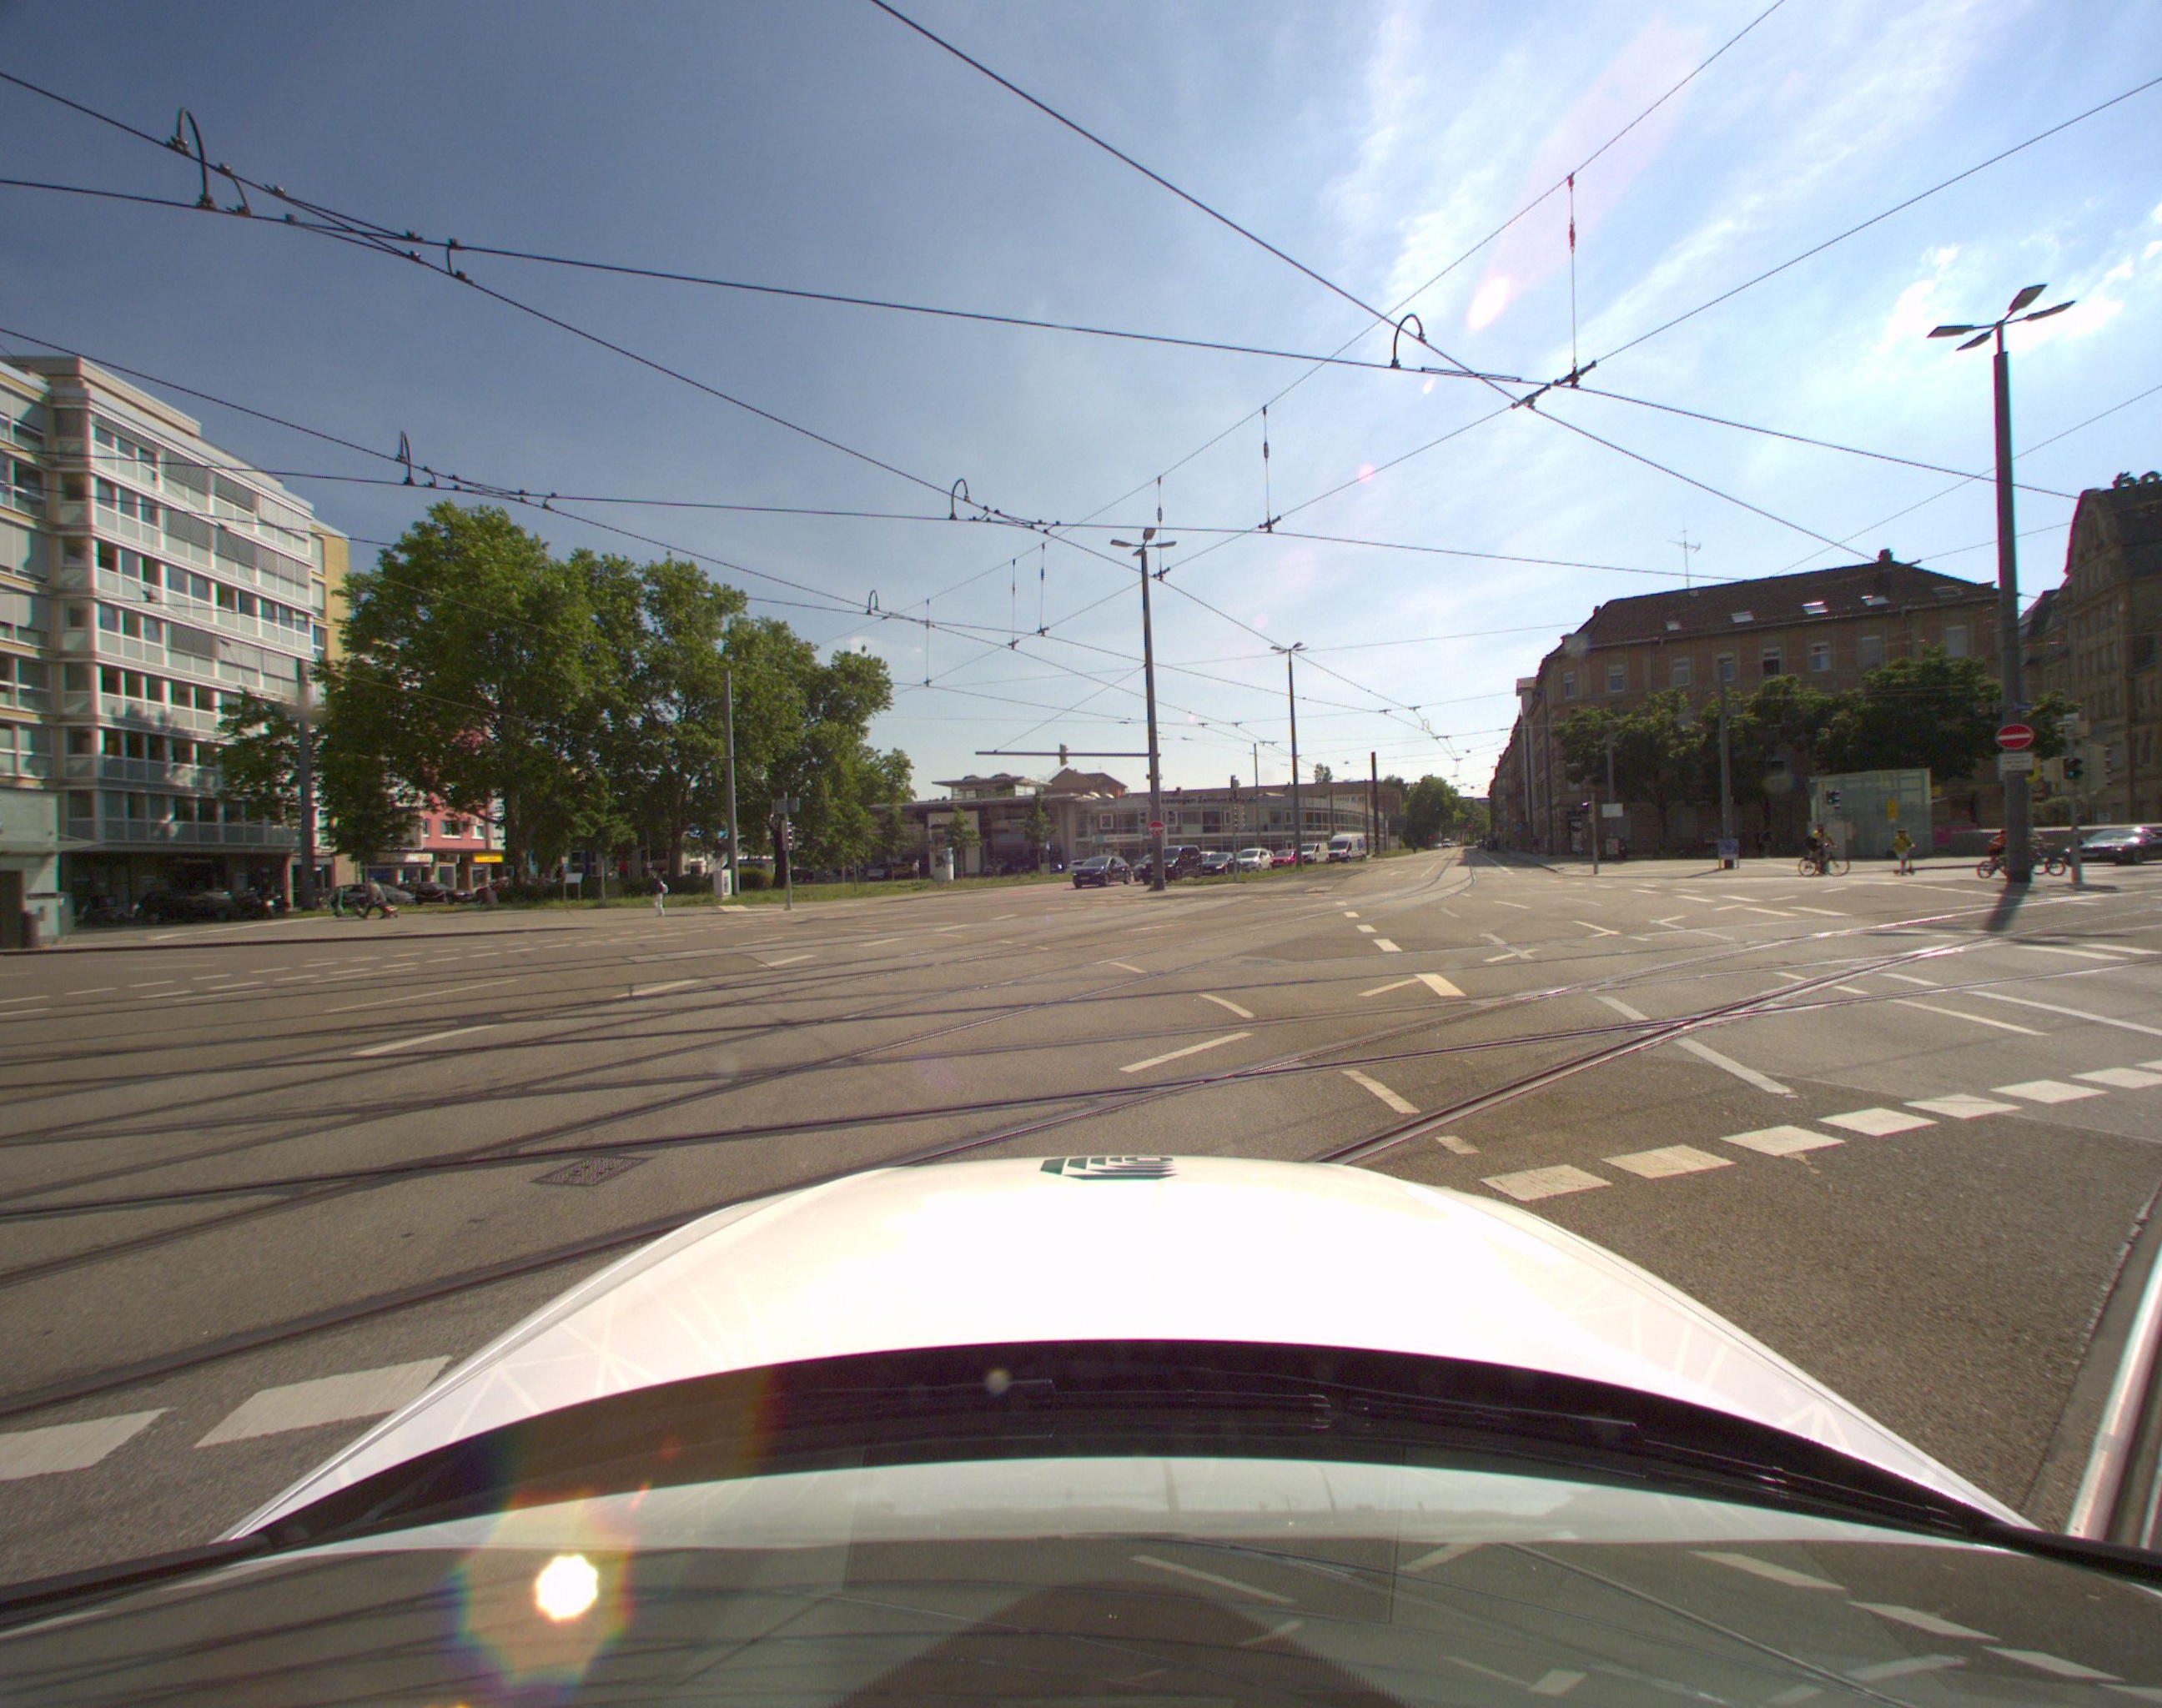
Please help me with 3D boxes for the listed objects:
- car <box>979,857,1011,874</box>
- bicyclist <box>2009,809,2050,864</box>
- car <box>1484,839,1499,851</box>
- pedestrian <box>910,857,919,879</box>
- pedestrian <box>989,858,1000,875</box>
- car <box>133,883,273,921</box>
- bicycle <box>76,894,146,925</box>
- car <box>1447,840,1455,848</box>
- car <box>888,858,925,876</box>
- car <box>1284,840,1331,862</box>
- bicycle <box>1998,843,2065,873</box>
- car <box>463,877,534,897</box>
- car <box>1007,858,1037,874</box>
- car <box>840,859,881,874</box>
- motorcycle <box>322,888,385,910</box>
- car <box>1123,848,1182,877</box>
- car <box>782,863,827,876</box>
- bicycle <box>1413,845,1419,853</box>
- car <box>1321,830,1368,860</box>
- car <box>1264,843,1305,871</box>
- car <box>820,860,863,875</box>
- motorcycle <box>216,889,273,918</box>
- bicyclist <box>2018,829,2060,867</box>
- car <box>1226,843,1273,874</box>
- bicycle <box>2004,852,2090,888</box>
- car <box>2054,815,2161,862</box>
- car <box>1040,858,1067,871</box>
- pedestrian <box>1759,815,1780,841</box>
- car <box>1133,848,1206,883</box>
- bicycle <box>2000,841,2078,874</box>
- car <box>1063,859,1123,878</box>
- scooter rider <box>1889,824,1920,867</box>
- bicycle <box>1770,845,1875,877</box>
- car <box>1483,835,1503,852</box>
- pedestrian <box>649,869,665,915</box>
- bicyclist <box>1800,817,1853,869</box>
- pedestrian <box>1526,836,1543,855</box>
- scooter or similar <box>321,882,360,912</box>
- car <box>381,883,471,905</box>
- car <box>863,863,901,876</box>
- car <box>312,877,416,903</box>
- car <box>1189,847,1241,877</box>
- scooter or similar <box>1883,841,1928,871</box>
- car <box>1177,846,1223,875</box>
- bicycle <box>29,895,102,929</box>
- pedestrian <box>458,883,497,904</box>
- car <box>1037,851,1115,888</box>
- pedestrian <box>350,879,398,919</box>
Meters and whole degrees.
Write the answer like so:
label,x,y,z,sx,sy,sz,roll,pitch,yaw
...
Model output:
label,x,y,z,sx,sy,sz,roll,pitch,yaw
car,-8.362,1.103,79.437,1.981,1.486,4.011,-2,0,9
bicyclist,28.099,-0.518,24.132,0.496,1.621,0.652,0,0,16
car,66.524,-1.439,131.911,2.089,2.014,4.023,0,-1,25
pedestrian,-12.111,1.000,59.324,0.388,1.596,0.467,0,-1,34
pedestrian,-8.036,1.182,75.843,0.948,1.580,0.535,0,-1,7
car,-38.714,2.120,35.994,4.074,1.471,1.655,-2,-3,-6
bicycle,-39.118,2.241,32.876,0.579,1.085,1.759,-2,1,4
car,98.753,-2.677,217.259,1.814,2.213,4.024,-2,0,28
car,-17.561,1.300,81.982,1.978,1.684,4.017,0,0,16
car,18.488,-0.276,66.361,2.164,1.680,5.061,-2,0,33
bicycle,28.084,0.098,24.100,0.496,0.866,1.594,0,0,16
car,-41.650,2.349,58.282,3.718,1.340,1.740,0,-1,-6
car,-5.647,1.106,78.907,1.981,1.486,4.010,0,0,9
car,-25.072,1.448,92.801,3.963,1.508,2.005,-2,0,9
motorcycle,-32.171,1.967,36.034,0.632,0.842,2.050,-2,0,44
car,4.167,0.496,46.939,1.876,1.588,4.024,-2,-2,28
car,-28.700,1.595,84.610,3.962,1.371,2.006,0,0,10
bicycle,51.254,-0.766,124.493,0.745,1.194,2.855,0,-1,25
car,23.634,-0.722,72.808,2.187,2.575,5.912,0,-1,37
car,14.981,0.257,59.774,1.876,1.917,4.225,-2,-2,28
car,-26.435,1.474,90.022,3.963,1.508,2.005,-2,0,9
motorcycle,-31.833,1.884,30.993,2.015,1.062,0.643,-2,0,18
bicyclist,26.580,-0.172,22.602,0.497,1.029,0.607,0,0,9
car,11.089,0.298,53.436,1.876,1.917,4.225,-2,-2,28
bicycle,25.378,0.401,21.424,0.515,0.886,1.579,-2,1,8
car,37.970,-0.582,29.518,3.986,1.584,1.633,-2,0,-9
car,-2.606,0.947,77.950,1.819,1.195,4.011,0,0,10
pedestrian,38.450,-1.446,45.495,0.615,1.433,0.706,1,-1,-27
car,4.461,0.581,40.559,1.942,1.588,4.744,-2,-1,28
bicycle,26.584,0.088,22.623,0.497,0.866,1.591,0,0,9
car,0.903,1.122,64.578,4.543,1.436,1.452,0,-1,24
scooter rider,27.231,-0.280,26.940,0.583,1.397,0.408,0,-1,10
bicycle,26.325,0.243,28.987,0.927,1.069,2.734,0,0,-13
car,53.128,-1.342,104.992,1.976,2.014,4.022,0,0,23
pedestrian,-14.860,1.323,28.546,0.455,1.605,0.397,1,-1,-25
bicyclist,26.554,-0.387,29.034,0.927,1.820,1.048,0,-1,-12
pedestrian,35.638,-0.667,64.036,0.713,1.433,0.881,-2,0,-20
scooter or similar,-28.153,1.637,30.972,1.348,1.119,0.520,-2,0,21
car,-40.469,2.453,50.376,3.982,1.270,1.740,0,0,-6
car,-20.033,1.512,82.042,1.978,1.244,4.017,0,0,16
car,-40.297,2.010,45.858,3.982,1.440,1.887,0,-1,-6
car,7.723,0.465,46.640,1.877,1.588,4.023,-2,-1,25
scooter or similar,27.227,0.066,26.921,0.583,0.976,0.995,0,-1,11
car,7.912,0.436,53.716,1.636,1.739,4.225,-2,-2,28
bicycle,-40.346,2.279,32.381,0.579,1.219,1.759,-2,0,4
pedestrian,-28.135,1.834,37.964,1.172,0.892,0.820,-2,0,-9
car,-0.155,0.728,38.469,1.874,1.588,4.235,-2,-2,28
pedestrian,-25.939,1.643,29.888,1.114,1.404,0.654,0,-1,-11
